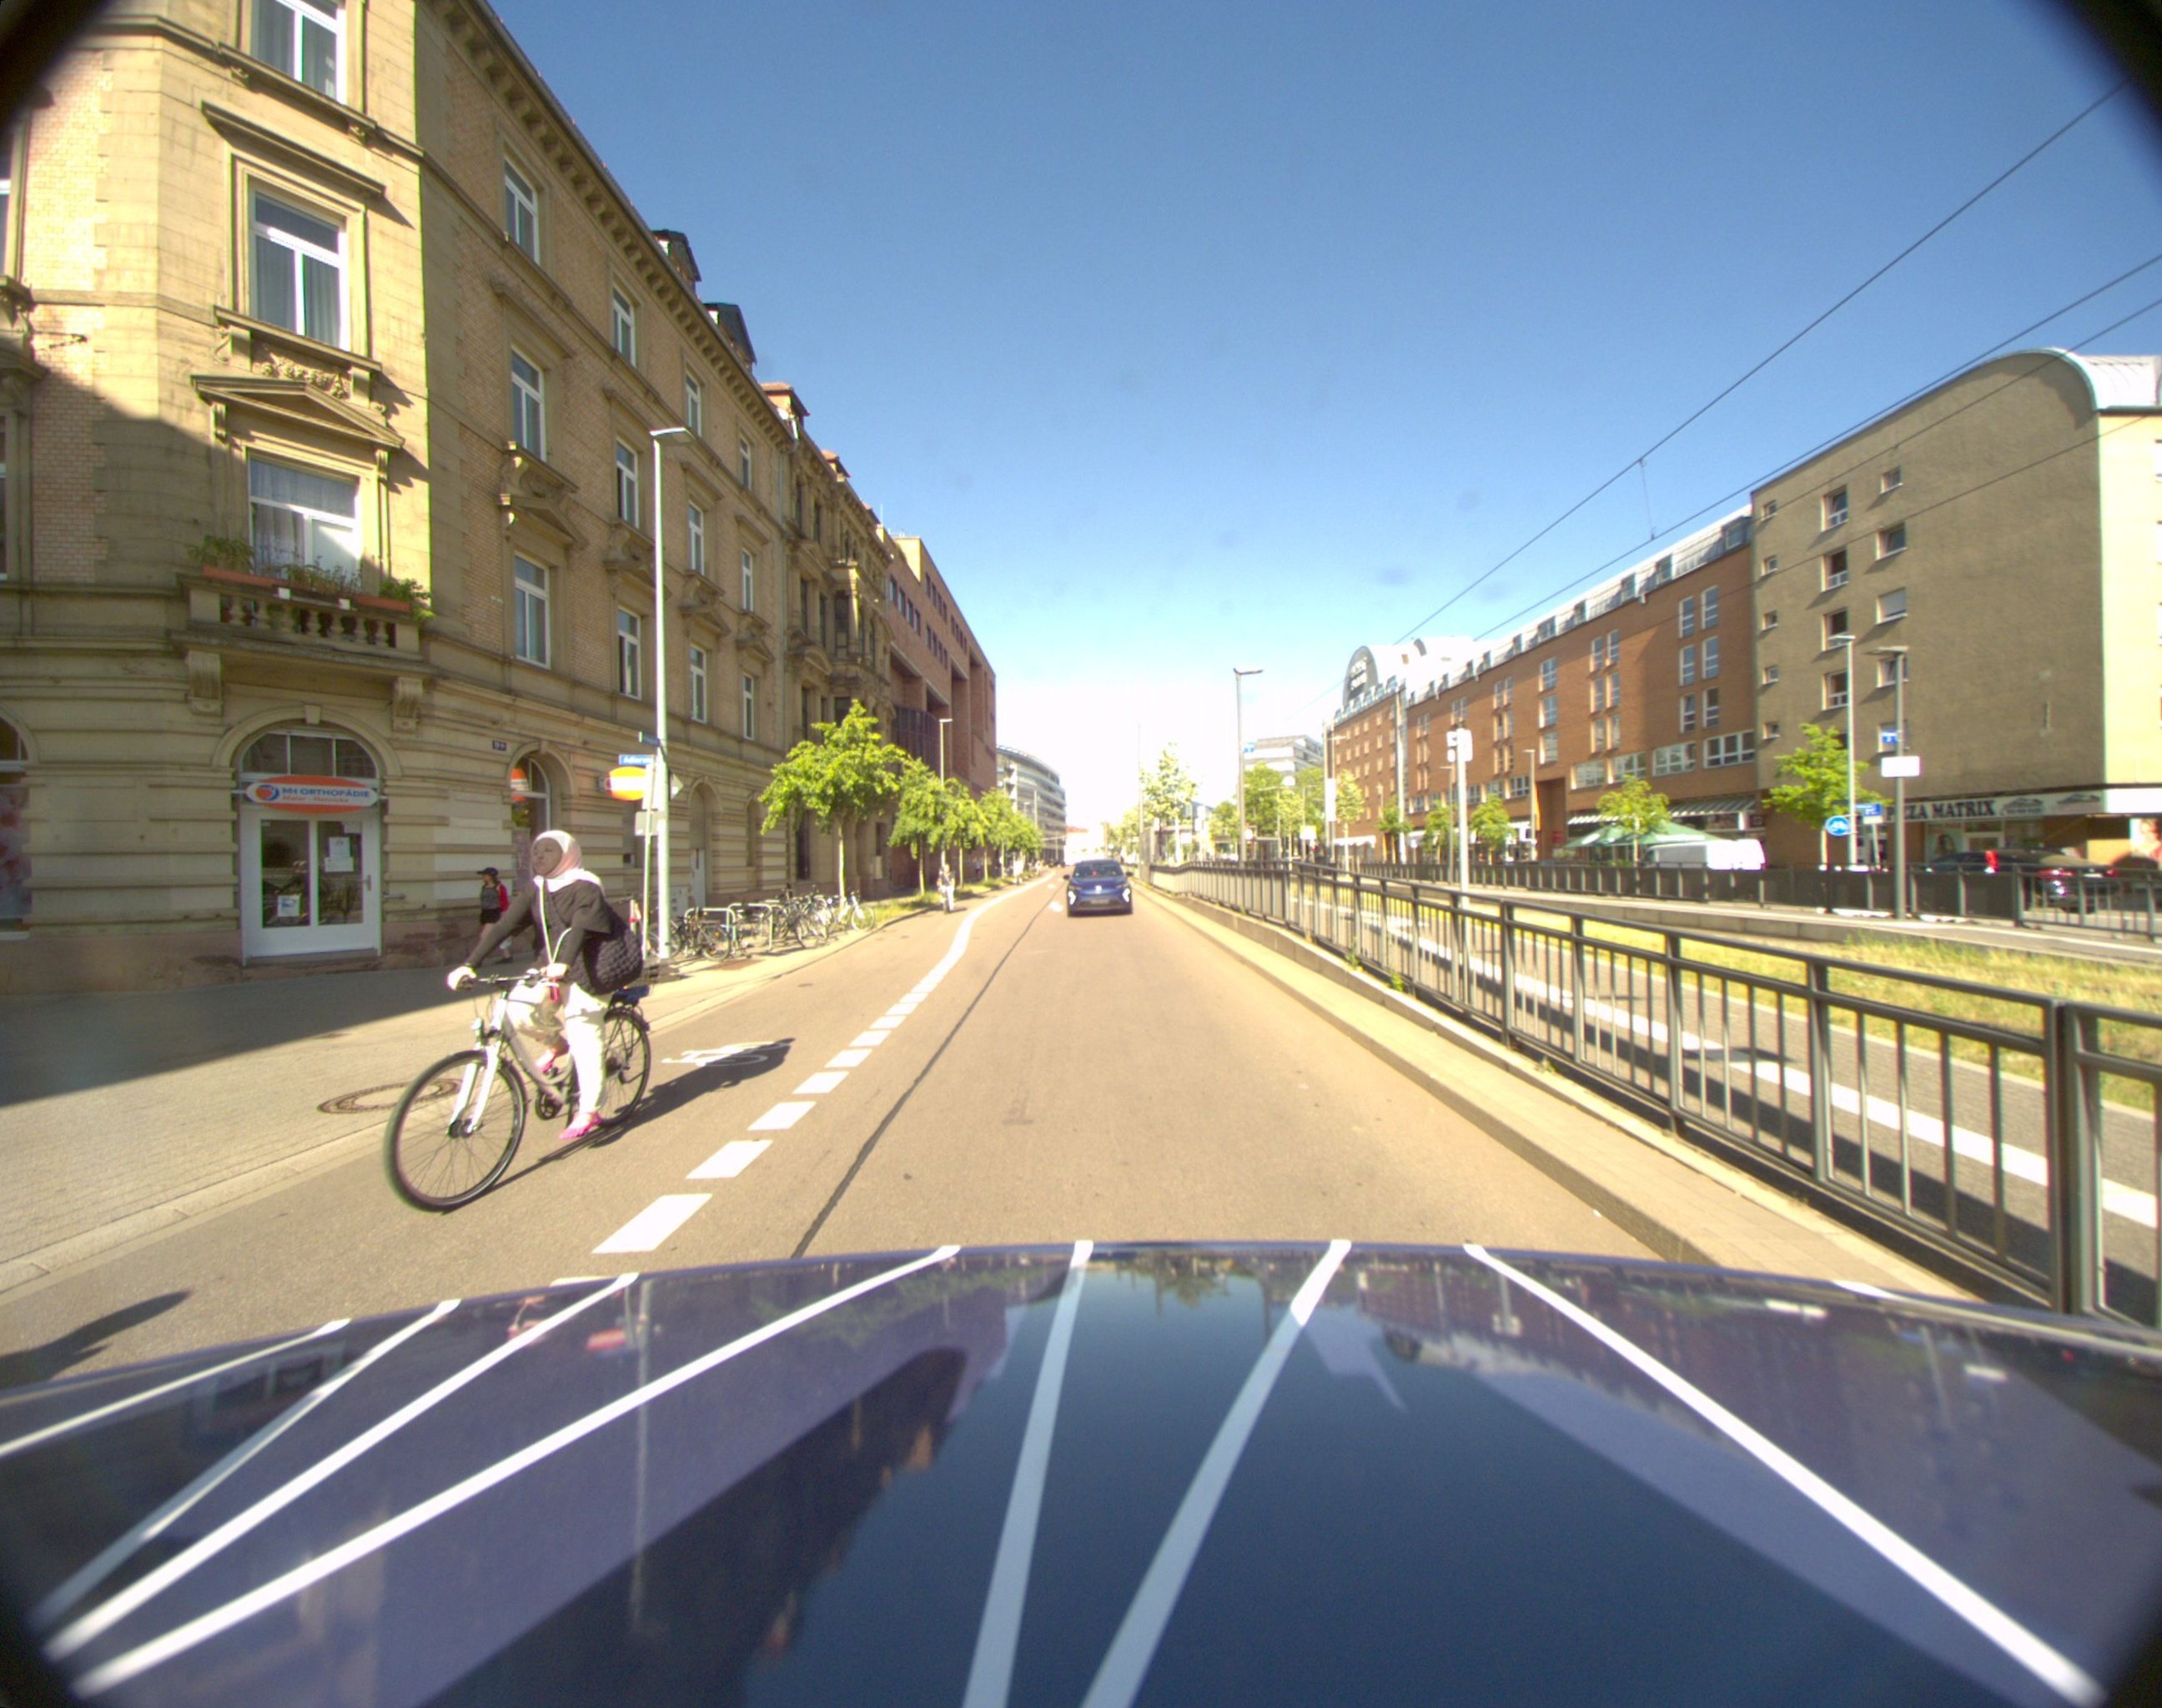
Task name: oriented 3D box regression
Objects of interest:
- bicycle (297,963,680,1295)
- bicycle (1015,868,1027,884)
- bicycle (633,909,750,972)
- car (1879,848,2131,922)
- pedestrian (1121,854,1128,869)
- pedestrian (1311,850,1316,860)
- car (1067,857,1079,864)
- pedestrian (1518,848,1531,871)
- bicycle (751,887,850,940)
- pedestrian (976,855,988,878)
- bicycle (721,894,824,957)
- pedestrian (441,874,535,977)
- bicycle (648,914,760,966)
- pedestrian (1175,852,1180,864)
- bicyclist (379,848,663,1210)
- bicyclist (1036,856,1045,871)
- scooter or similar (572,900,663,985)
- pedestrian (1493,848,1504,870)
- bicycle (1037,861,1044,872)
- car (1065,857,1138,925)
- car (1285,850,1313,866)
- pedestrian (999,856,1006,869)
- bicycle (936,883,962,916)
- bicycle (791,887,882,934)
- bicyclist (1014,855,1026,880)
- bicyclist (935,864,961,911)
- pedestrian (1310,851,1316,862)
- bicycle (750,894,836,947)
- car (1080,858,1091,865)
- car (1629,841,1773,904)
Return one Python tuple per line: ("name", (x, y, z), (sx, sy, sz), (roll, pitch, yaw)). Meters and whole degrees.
("bicycle", (-2.911, 1.260, 4.022), (0.558, 1.086, 1.792), (-3, 0, 0))
("bicycle", (-4.270, 1.550, 53.924), (0.578, 1.090, 1.507), (-3, 0, 2))
("bicycle", (-6.393, 1.408, 12.502), (1.673, 0.938, 0.607), (0, 0, 8))
("car", (24.198, 0.752, 20.169), (1.819, 1.749, 4.000), (-1, 0, 0))
("pedestrian", (5.068, 0.879, 88.774), (0.710, 1.713, 0.752), (-1, 1, -1))
("pedestrian", (38.889, 0.197, 127.225), (0.645, 1.601, 0.728), (-1, 0, 5))
("car", (-1.777, 1.551, 173.700), (2.120, 1.547, 4.003), (-1, 0, 9))
("pedestrian", (34.942, 0.451, 59.886), (0.622, 1.829, 0.645), (-1, 1, 1))
("bicycle", (-6.446, 1.362, 17.514), (1.999, 1.121, 0.710), (1, 0, 2))
("pedestrian", (-8.050, 1.009, 61.602), (0.790, 1.872, 1.106), (-1, 1, 0))
("bicycle", (-5.923, 1.363, 14.639), (1.727, 1.094, 0.607), (1, 0, 4))
("pedestrian", (-9.279, 1.090, 11.920), (0.711, 1.533, 0.927), (-1, 1, 0))
("bicycle", (-6.521, 1.473, 13.170), (1.673, 0.816, 0.607), (0, 0, 7))
("pedestrian", (13.097, 0.505, 102.963), (0.609, 1.560, 0.909), (-2, 0, 7))
("bicyclist", (-2.921, 0.842, 4.074), (0.781, 1.701, 0.868), (-3, 0, 0))
("bicyclist", (-4.367, 1.052, 81.923), (0.755, 1.607, 0.762), (-3, 0, 4))
("scooter or similar", (-6.764, 1.279, 11.097), (1.113, 1.182, 0.419), (0, 0, 8))
("pedestrian", (35.675, 0.423, 64.927), (0.622, 1.829, 0.644), (-1, 1, -1))
("bicycle", (-4.350, 1.368, 81.895), (0.578, 1.090, 1.507), (-3, 0, 3))
("car", (0.544, 0.964, 21.456), (1.802, 1.596, 3.999), (-2, 1, 1))
("car", (24.548, 0.469, 85.520), (1.998, 1.674, 3.999), (-2, 1, 1))
("pedestrian", (-8.748, 0.969, 84.457), (0.633, 1.478, 0.736), (-1, 1, 0))
("bicycle", (-4.485, 1.531, 25.810), (0.558, 1.021, 1.507), (-3, 0, 0))
("bicycle", (-6.019, 1.393, 18.810), (2.001, 1.086, 0.846), (1, 0, -9))
("bicyclist", (-4.314, 0.918, 53.890), (0.684, 1.718, 0.909), (-3, 0, 2))
("bicyclist", (-4.510, 1.123, 25.843), (0.659, 1.528, 0.909), (-3, 0, 0))
("pedestrian", (35.355, 0.382, 115.866), (0.716, 1.745, 0.779), (-1, 0, 3))
("bicycle", (-6.126, 1.408, 16.198), (1.603, 1.039, 0.607), (1, 0, 4))
("car", (1.025, 1.777, 172.285), (1.882, 1.455, 4.002), (-2, 1, 8))
("car", (25.350, 0.693, 31.415), (1.997, 2.356, 5.649), (-1, 0, 8))
